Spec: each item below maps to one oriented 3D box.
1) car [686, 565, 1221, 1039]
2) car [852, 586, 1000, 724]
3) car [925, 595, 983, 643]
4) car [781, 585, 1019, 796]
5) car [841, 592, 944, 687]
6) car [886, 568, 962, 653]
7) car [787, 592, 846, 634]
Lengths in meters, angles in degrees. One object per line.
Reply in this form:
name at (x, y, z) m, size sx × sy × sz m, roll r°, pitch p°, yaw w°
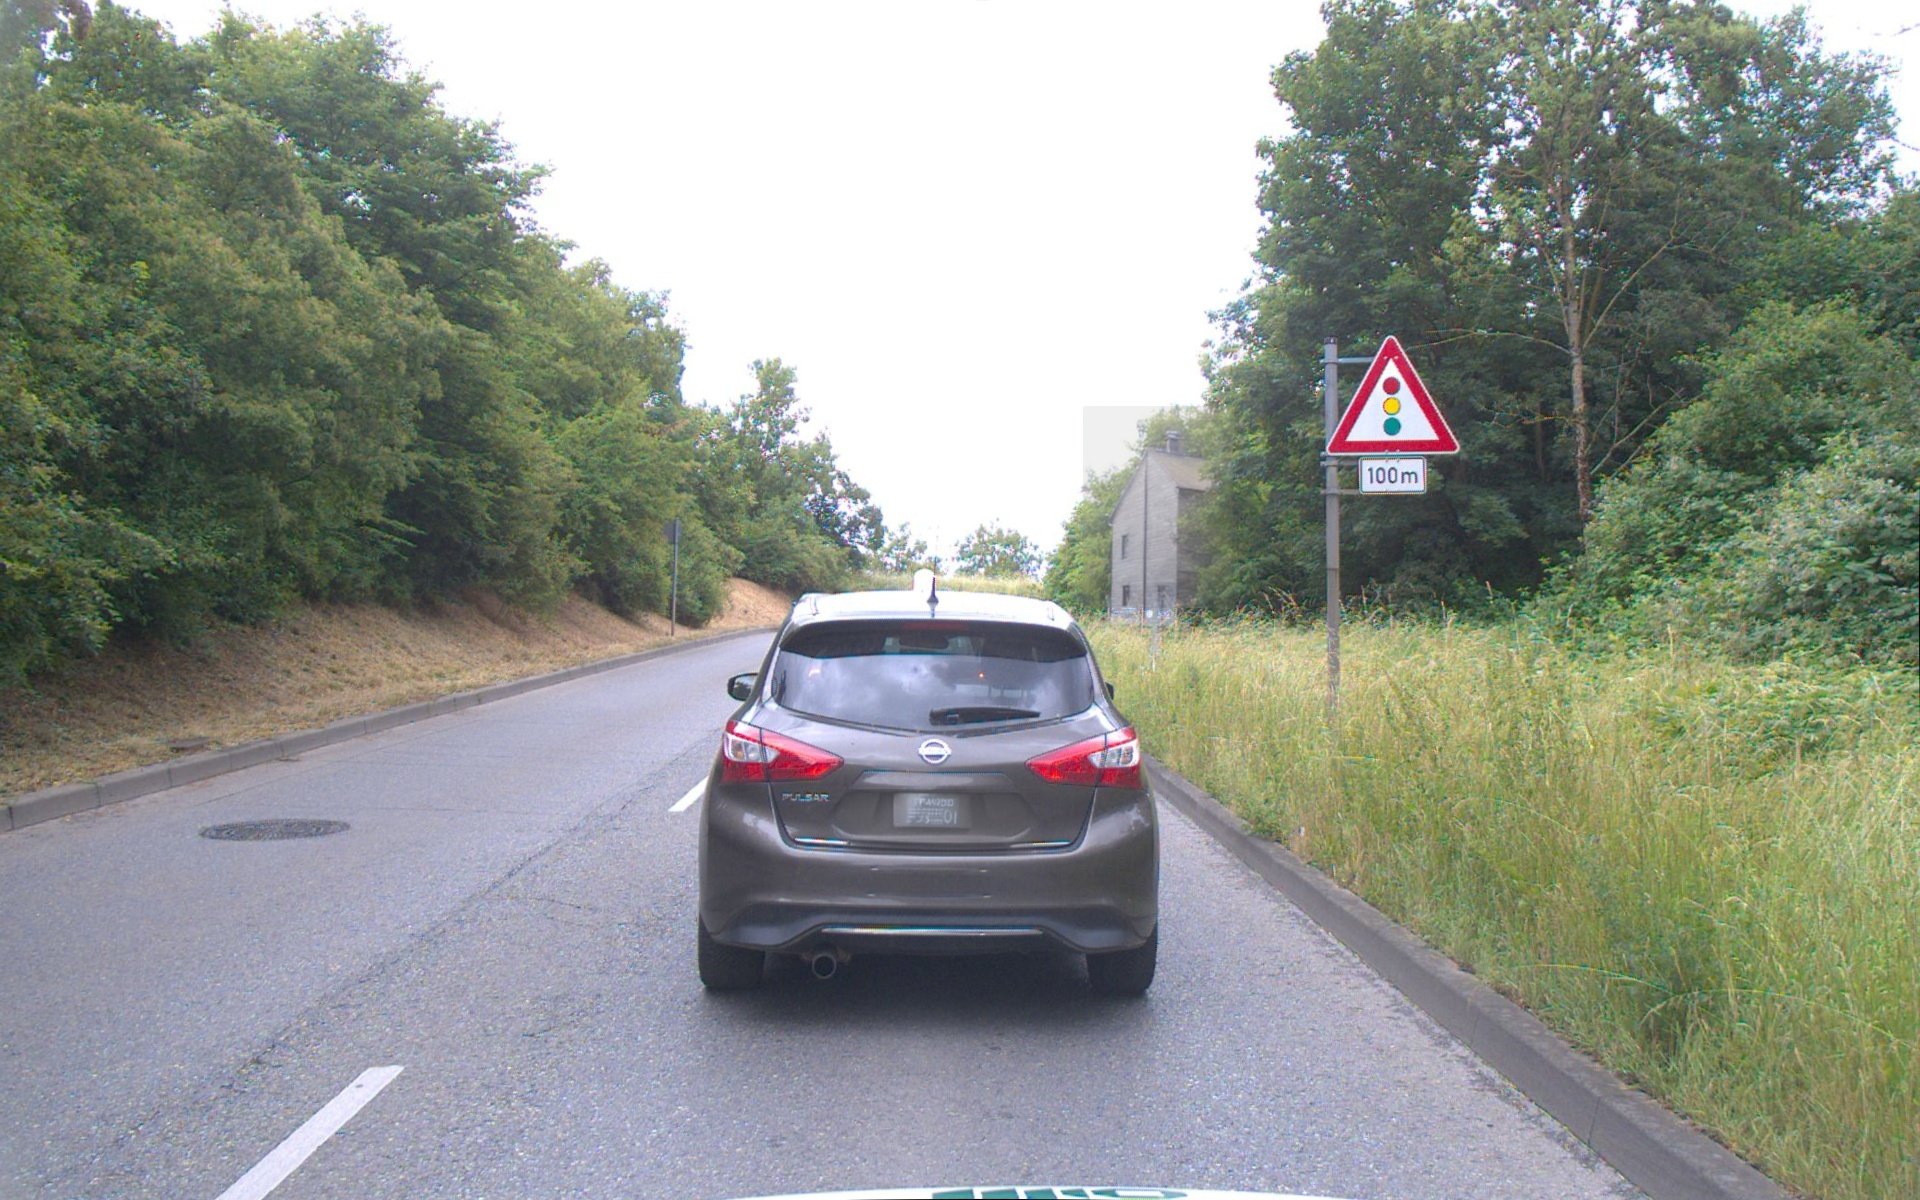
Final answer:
car at (-0.085, 0.675, 7.321) m, size 1.793 × 1.583 × 3.497 m, roll 1°, pitch 0°, yaw -2°
car at (-0.404, 0.623, 20.826) m, size 1.700 × 1.583 × 3.543 m, roll 0°, pitch 0°, yaw -1°
car at (-0.179, 0.612, 54.940) m, size 1.699 × 1.553 × 3.545 m, roll 0°, pitch 0°, yaw 3°
car at (-0.466, 0.675, 14.308) m, size 1.793 × 1.583 × 3.624 m, roll 0°, pitch 0°, yaw -1°
car at (-1.132, 0.651, 29.230) m, size 1.700 × 1.583 × 3.543 m, roll 0°, pitch 0°, yaw -1°
car at (-0.827, 0.229, 40.022) m, size 1.700 × 1.968 × 3.544 m, roll 0°, pitch 0°, yaw 1°
car at (-5.060, 0.445, 58.596) m, size 1.608 × 1.425 × 3.822 m, roll 1°, pitch 0°, yaw 2°
